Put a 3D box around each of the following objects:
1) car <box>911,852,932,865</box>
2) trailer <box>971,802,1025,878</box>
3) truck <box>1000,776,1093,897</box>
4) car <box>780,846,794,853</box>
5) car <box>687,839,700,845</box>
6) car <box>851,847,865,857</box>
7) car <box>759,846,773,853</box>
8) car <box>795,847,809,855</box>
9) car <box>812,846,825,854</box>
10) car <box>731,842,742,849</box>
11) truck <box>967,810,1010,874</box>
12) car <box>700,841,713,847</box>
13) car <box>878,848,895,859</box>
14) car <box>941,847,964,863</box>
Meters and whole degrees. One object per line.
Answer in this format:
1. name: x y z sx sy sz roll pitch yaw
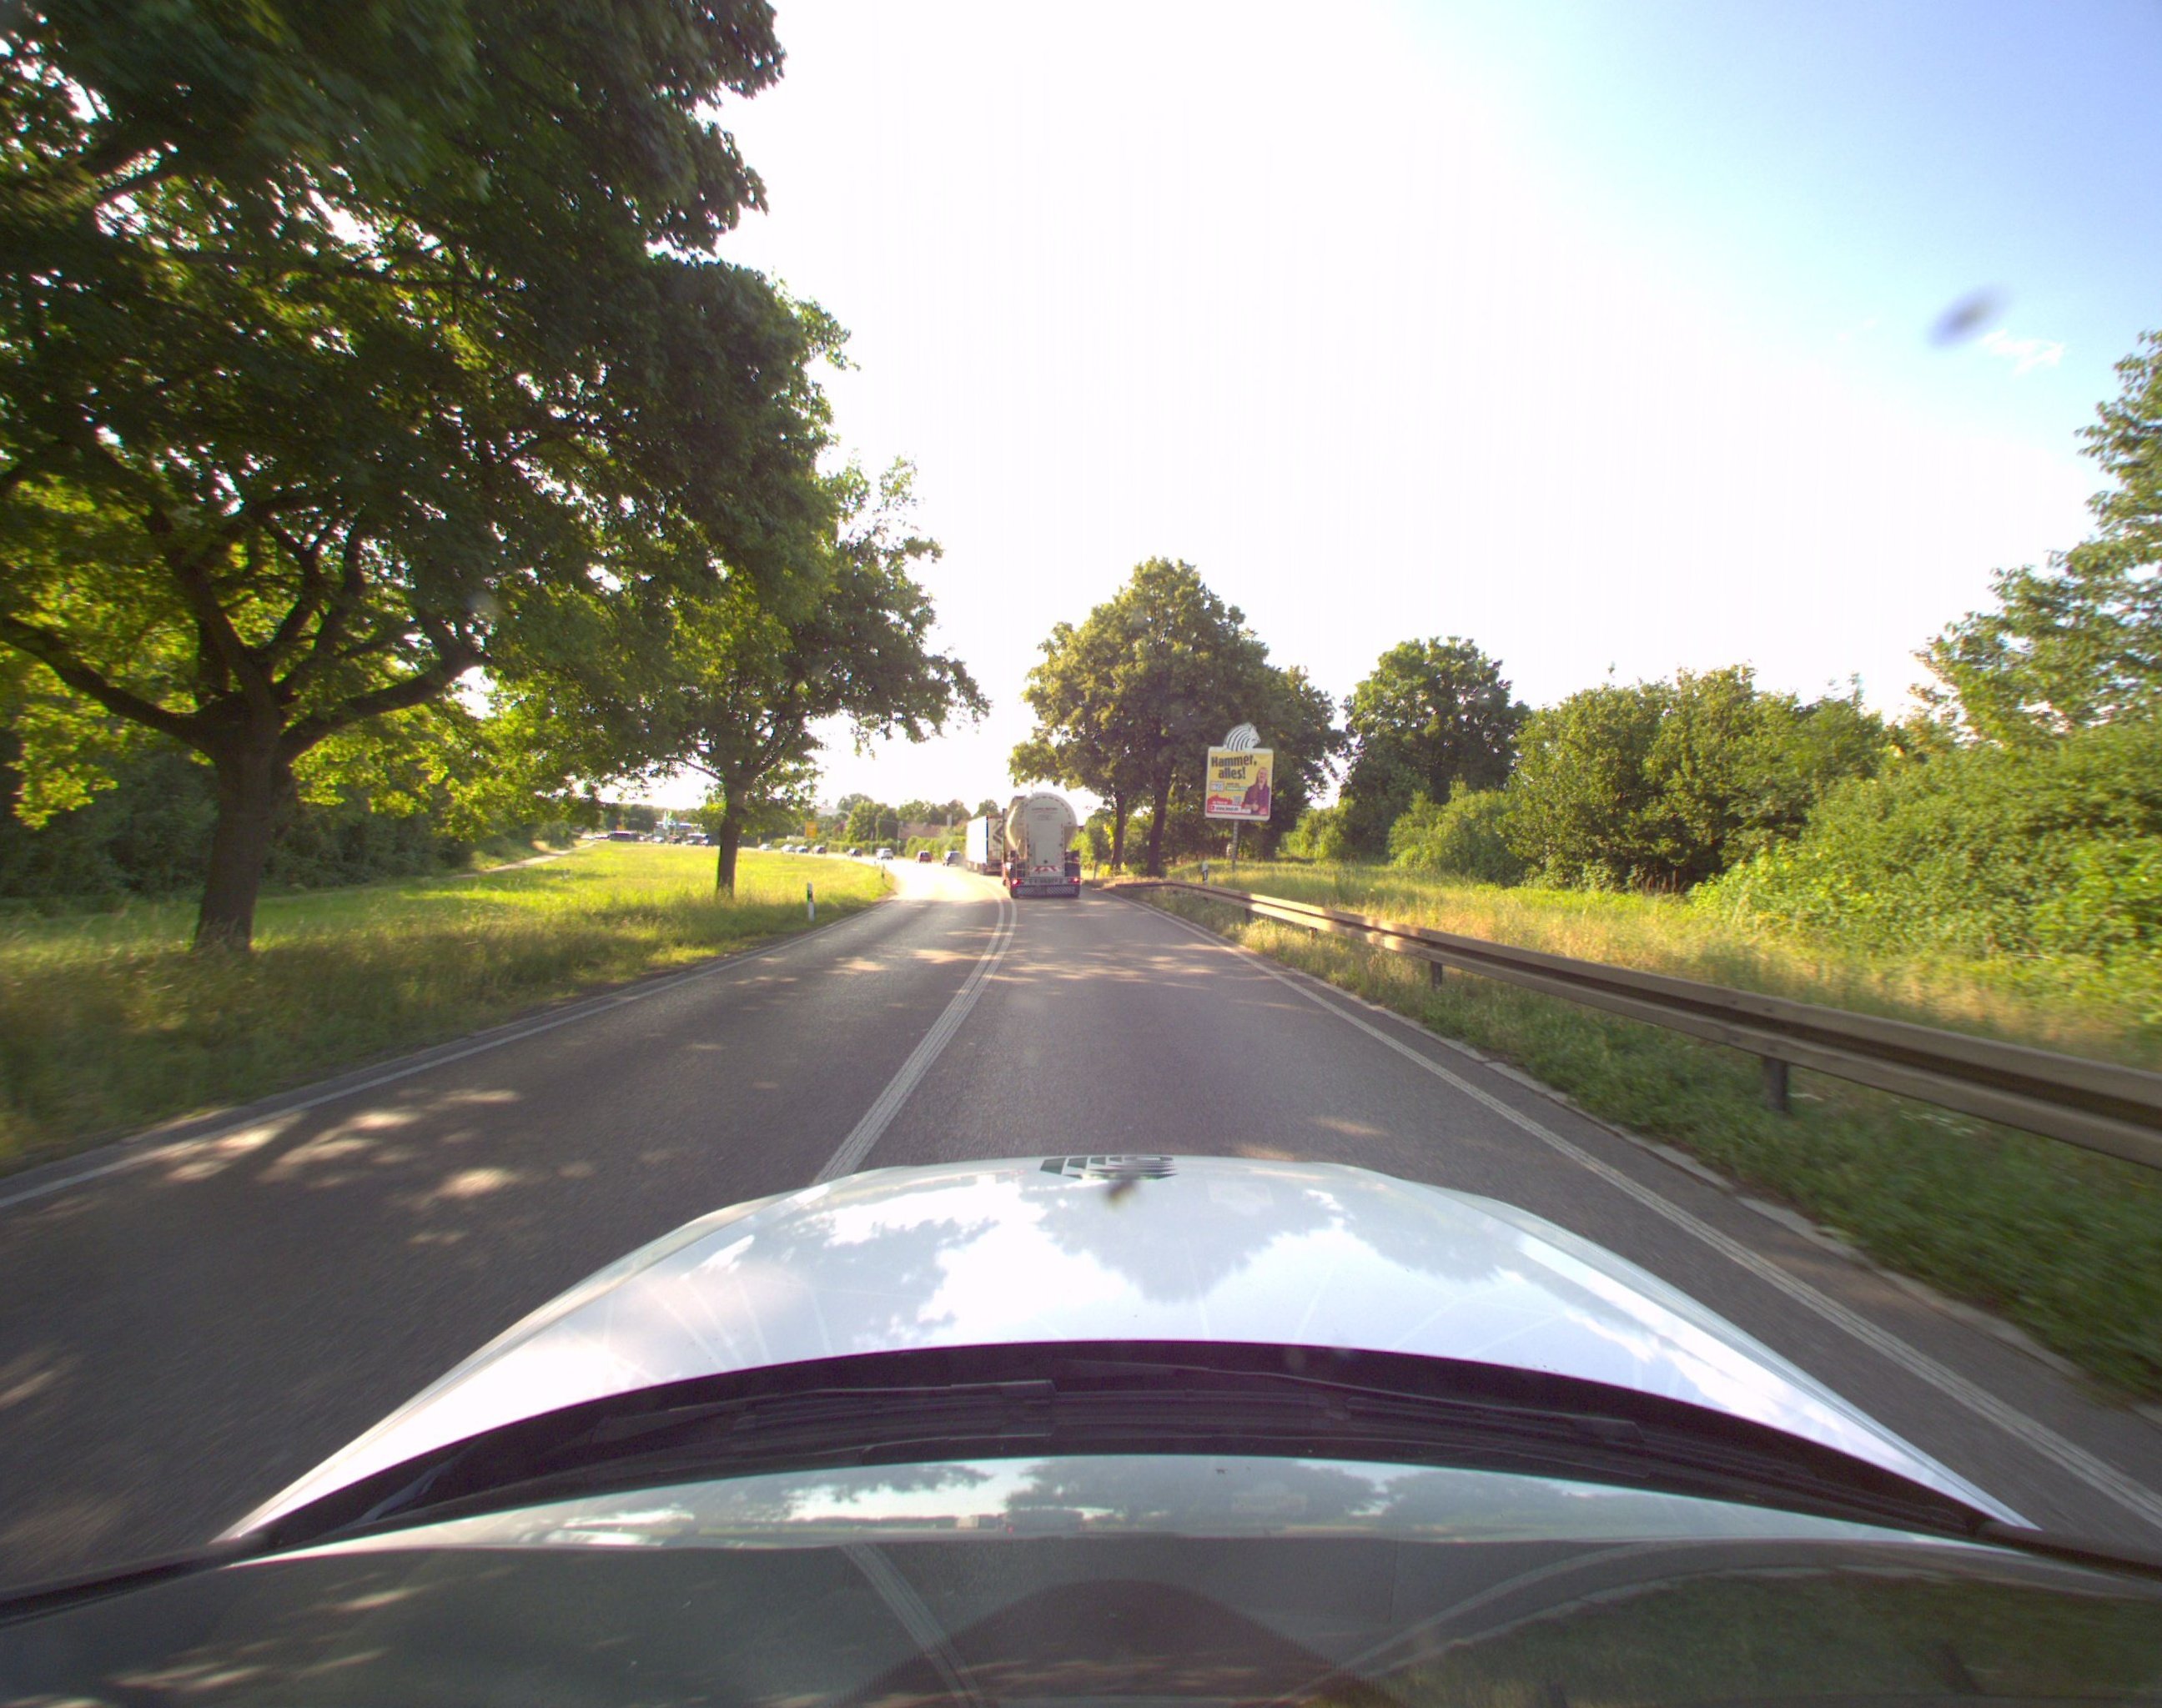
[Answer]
1. car: -20.615 0.627 104.983 2.305 1.656 4.390 0 -1 -17
2. trailer: -6.090 -0.870 58.054 2.965 4.882 10.248 0 -1 -11
3. truck: -1.760 -0.555 34.139 2.973 4.175 11.633 0 -1 -7
4. car: -64.160 -1.010 177.552 1.692 1.559 3.828 0 -1 -38
5. car: -104.247 -3.332 219.173 2.103 1.599 3.952 0 1 -43
6. car: -38.865 -0.306 141.964 1.528 1.656 3.838 0 -1 -27
7. car: -72.670 -1.089 188.018 1.992 1.656 3.828 0 -1 -38
8. car: -58.490 -0.667 170.581 1.692 1.559 3.828 0 -1 -38
9. car: -52.192 -0.761 161.833 1.530 1.656 3.832 0 -1 -33
10. car: -86.796 -2.091 204.943 1.741 1.656 3.829 0 -1 -37
11. truck: -7.477 -0.875 65.458 2.964 4.886 6.405 0 -1 -11
12. car: -97.462 -2.573 211.949 2.103 1.599 3.952 0 1 -43
13. car: -30.035 -0.023 125.863 1.849 1.656 3.968 0 -1 -24
14. car: -14.020 0.144 88.513 1.998 1.656 3.977 0 -1 -17
